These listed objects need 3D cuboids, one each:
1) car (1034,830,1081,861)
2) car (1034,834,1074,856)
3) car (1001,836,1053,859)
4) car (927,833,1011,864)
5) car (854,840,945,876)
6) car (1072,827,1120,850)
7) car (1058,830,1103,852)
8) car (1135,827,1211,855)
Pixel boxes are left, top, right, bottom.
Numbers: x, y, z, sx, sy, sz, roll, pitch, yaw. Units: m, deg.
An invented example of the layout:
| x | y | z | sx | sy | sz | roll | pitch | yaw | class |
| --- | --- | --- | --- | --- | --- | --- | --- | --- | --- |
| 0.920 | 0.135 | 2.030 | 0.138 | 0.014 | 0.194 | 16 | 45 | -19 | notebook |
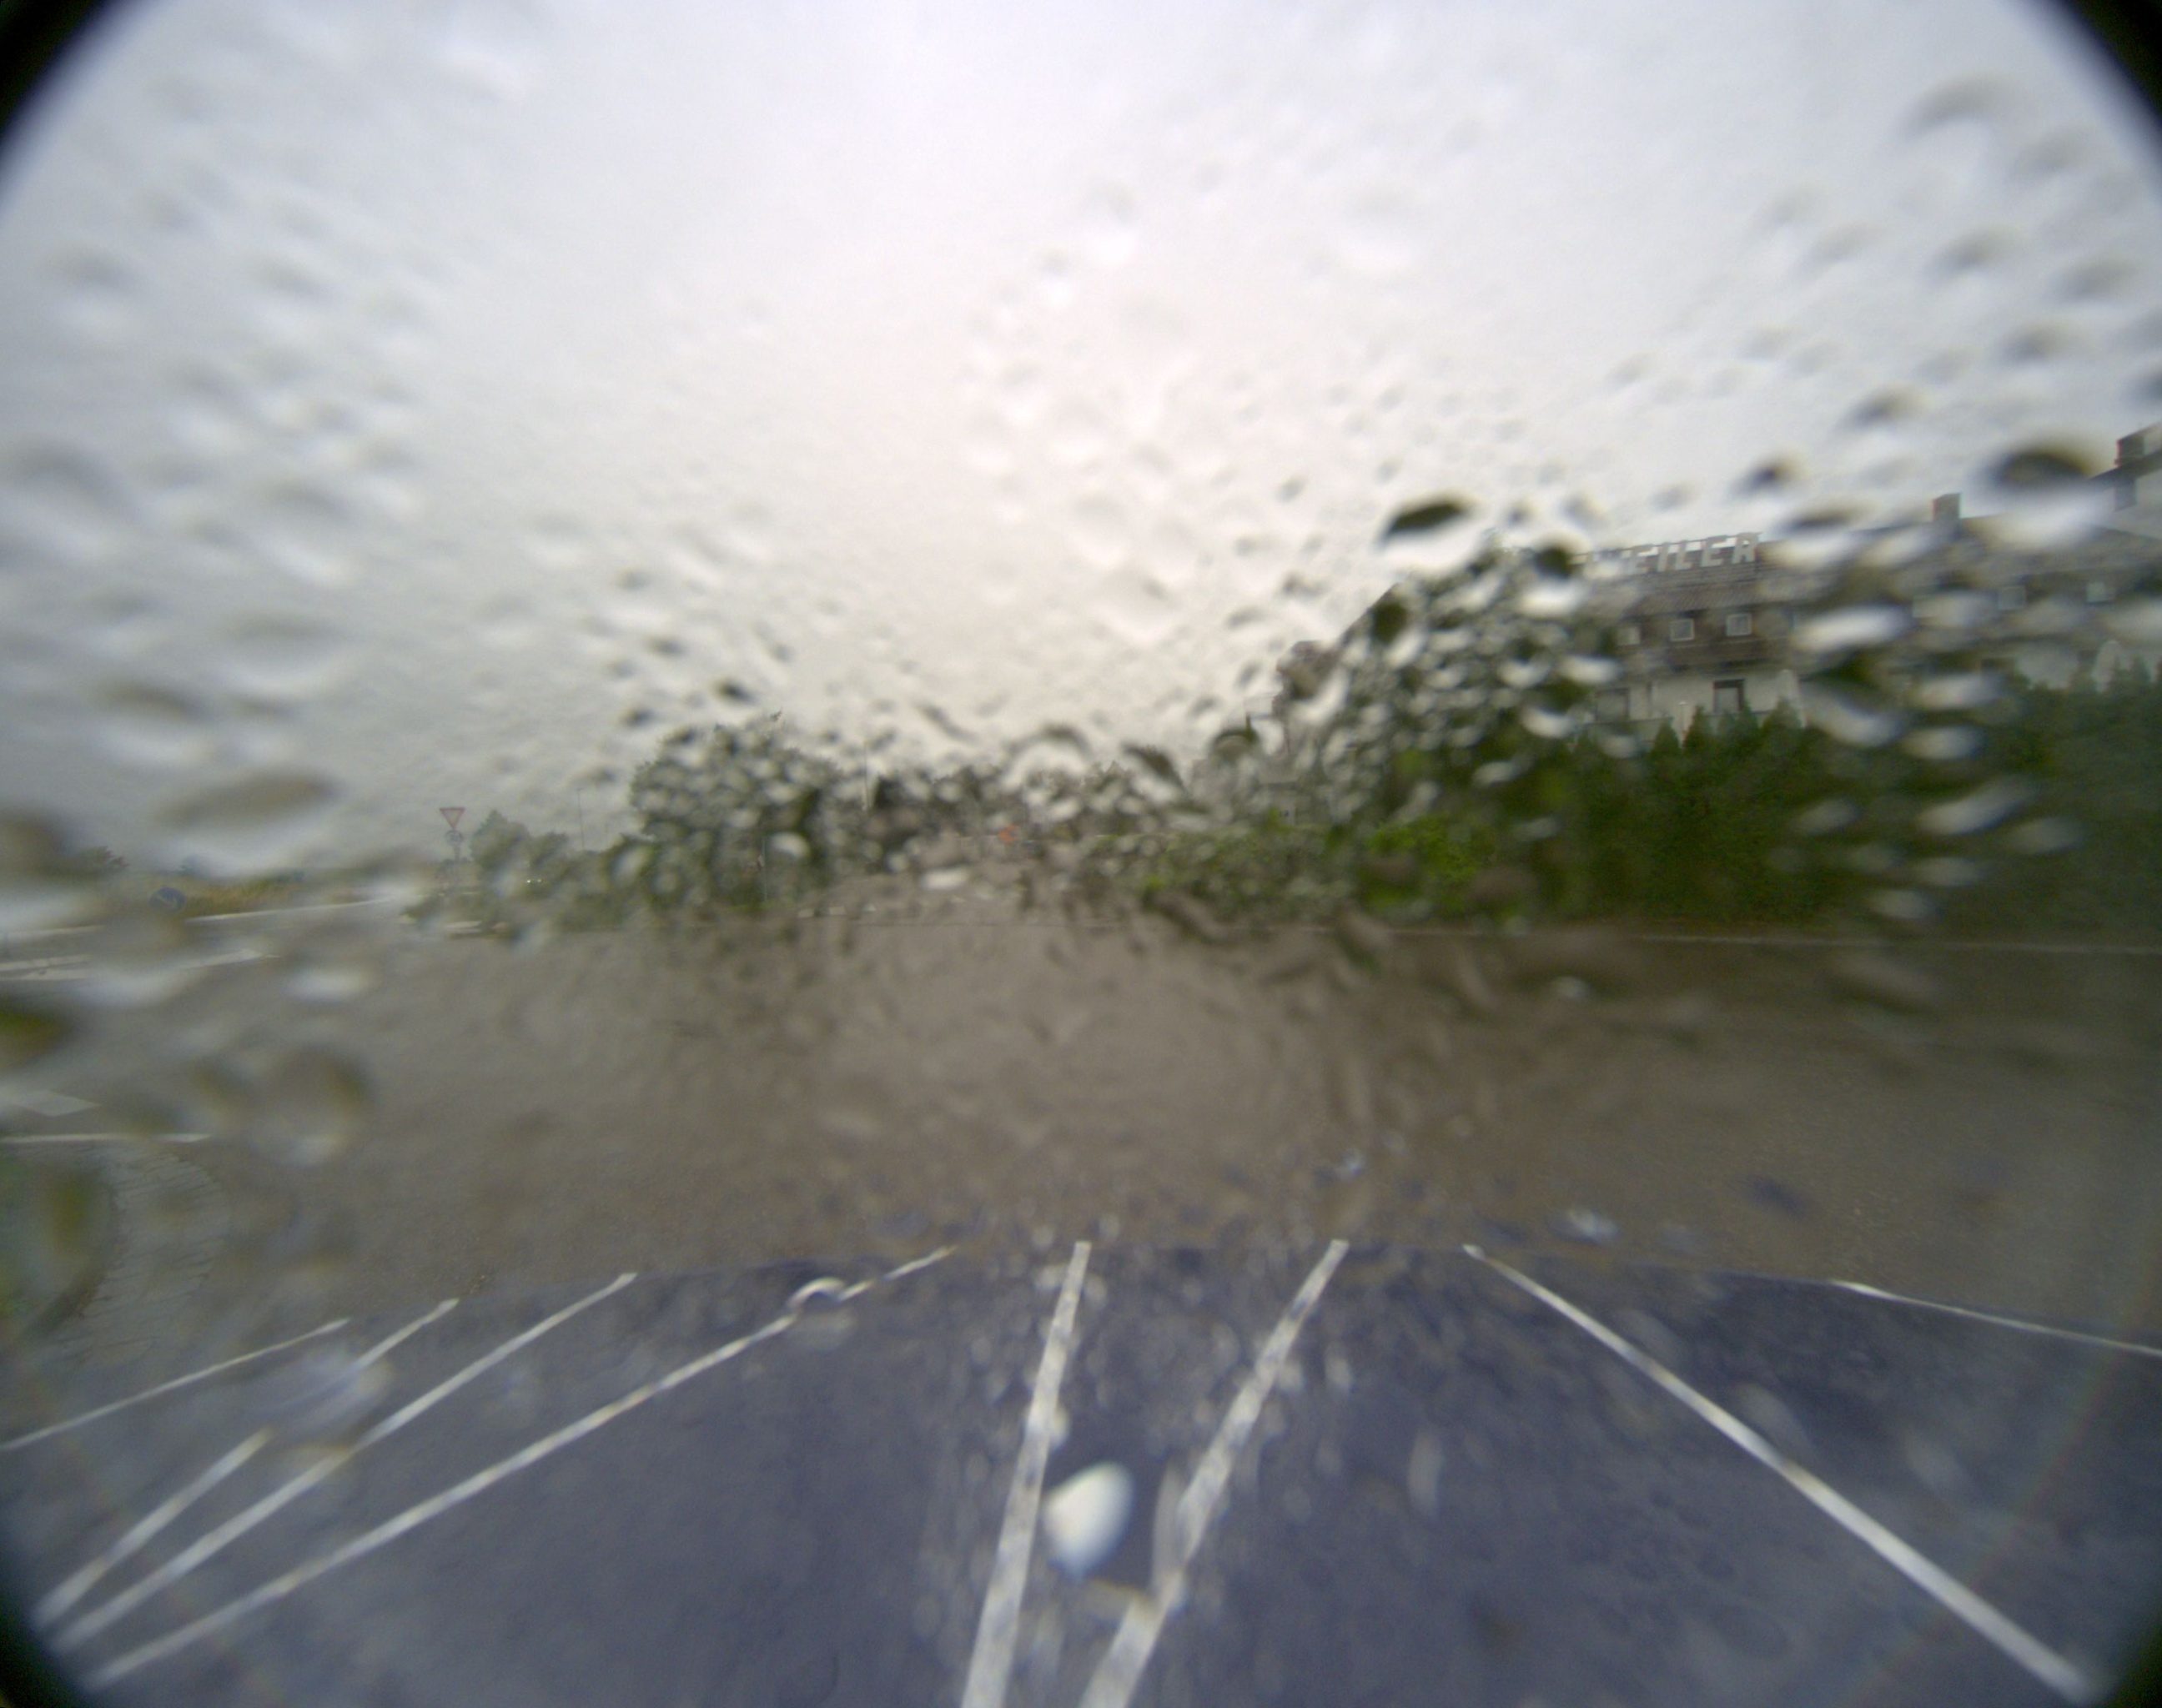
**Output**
| x | y | z | sx | sy | sz | roll | pitch | yaw | class |
| --- | --- | --- | --- | --- | --- | --- | --- | --- | --- |
| -1.313 | -0.488 | 40.371 | 1.706 | 1.417 | 4.354 | -4 | 3 | -11 | car |
| -2.243 | -0.731 | 62.189 | 1.668 | 1.540 | 3.718 | -5 | 2 | -31 | car |
| -4.326 | -0.532 | 60.416 | 2.003 | 1.541 | 4.637 | -5 | 1 | -33 | car |
| -7.855 | -0.398 | 53.582 | 5.368 | 1.712 | 2.001 | -4 | 1 | 14 | car |
| -10.507 | 0.203 | 44.117 | 4.601 | 1.712 | 2.001 | -4 | 1 | 14 | car |
| 1.248 | -1.292 | 65.329 | 1.993 | 1.718 | 3.990 | -5 | 2 | -37 | car |
| -0.103 | -1.056 | 63.744 | 1.752 | 1.561 | 3.879 | -5 | 2 | -36 | car |
| 5.578 | -0.776 | 45.930 | 4.353 | 1.417 | 1.851 | -3 | 2 | 13 | car |
